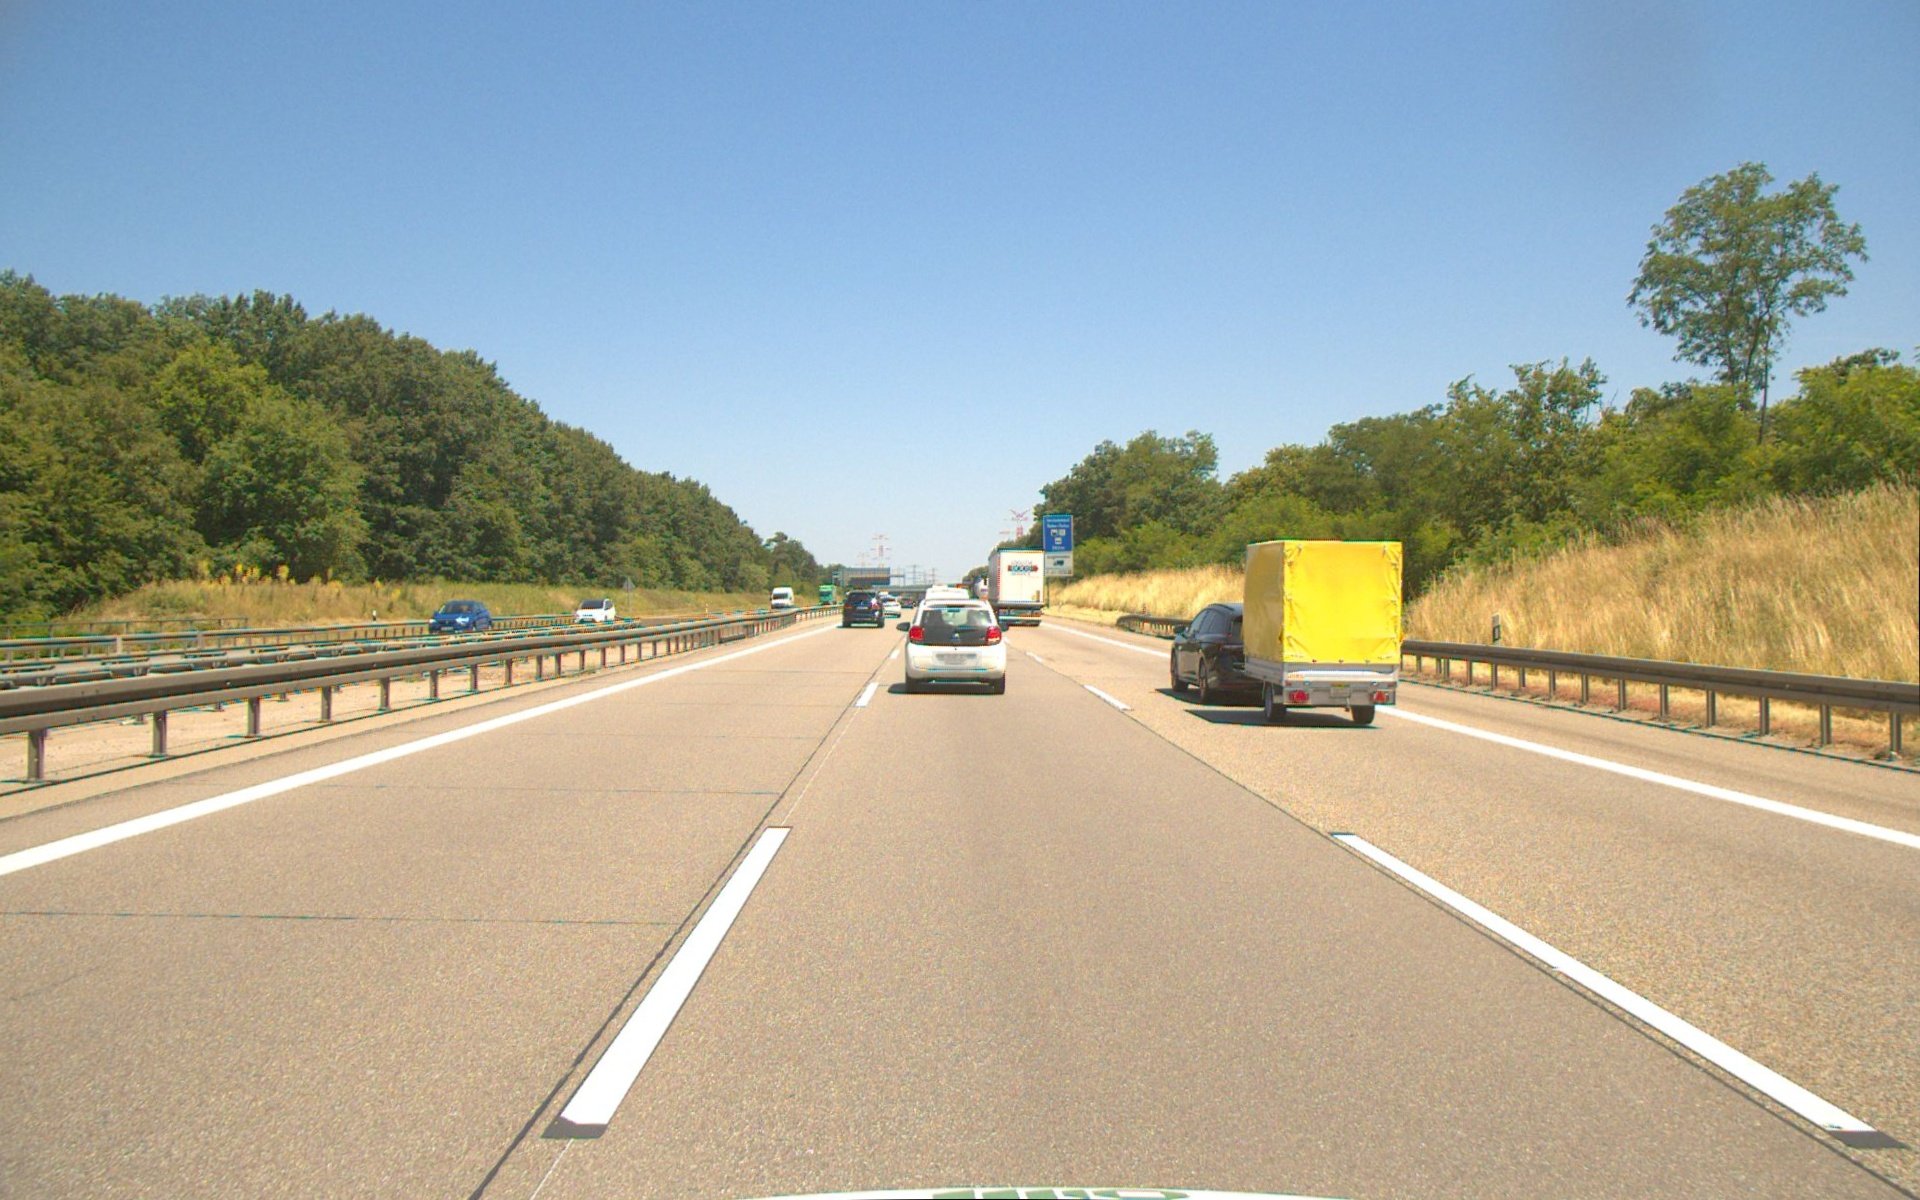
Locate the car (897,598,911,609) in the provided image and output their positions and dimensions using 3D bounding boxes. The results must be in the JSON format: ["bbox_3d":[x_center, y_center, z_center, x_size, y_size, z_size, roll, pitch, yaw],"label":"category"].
[{"bbox_3d":[-6.922,0.423,204.459,1.574,1.323,3.673,1,0,-1],"label":"car"}]

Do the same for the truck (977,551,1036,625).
[{"bbox_3d":[2.769,-0.675,100.558,3.219,4.293,6.005,1,0,-1],"label":"truck"}]

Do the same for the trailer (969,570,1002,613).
[{"bbox_3d":[2.337,-0.763,156.516,2.628,3.904,12.006,1,0,-1],"label":"trailer"}]

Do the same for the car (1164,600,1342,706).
[{"bbox_3d":[4.484,0.766,26.052,1.784,1.481,4.786,1,0,-2],"label":"car"}]

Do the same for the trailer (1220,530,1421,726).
[{"bbox_3d":[4.630,0.338,21.782,1.669,2.329,3.838,1,0,-2],"label":"trailer"}]

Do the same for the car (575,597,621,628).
[{"bbox_3d":[-21.689,0.718,99.272,1.667,1.690,5.115,-3,0,-1],"label":"car"}]

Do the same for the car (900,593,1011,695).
[{"bbox_3d":[-0.097,0.664,27.222,1.673,1.521,4.023,1,0,-1],"label":"car"}]

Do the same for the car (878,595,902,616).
[{"bbox_3d":[-4.965,0.395,117.776,1.635,1.426,3.711,0,0,-2],"label":"car"}]

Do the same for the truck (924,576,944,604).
[{"bbox_3d":[-2.818,-1.055,177.814,2.018,2.965,7.001,0,0,-1],"label":"truck"}]

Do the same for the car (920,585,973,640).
[{"bbox_3d":[-0.507,0.423,57.976,1.777,1.859,5.109,0,0,-1],"label":"car"}]

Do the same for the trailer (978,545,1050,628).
[{"bbox_3d":[2.929,-0.660,93.791,3.219,4.293,13.561,1,0,-1],"label":"trailer"}]

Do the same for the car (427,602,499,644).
[{"bbox_3d":[-20.953,0.941,69.908,1.667,1.572,4.534,-3,0,-1],"label":"car"}]

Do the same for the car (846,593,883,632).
[{"bbox_3d":[-4.498,0.584,78.131,1.593,1.785,3.804,1,0,-1],"label":"car"}]
